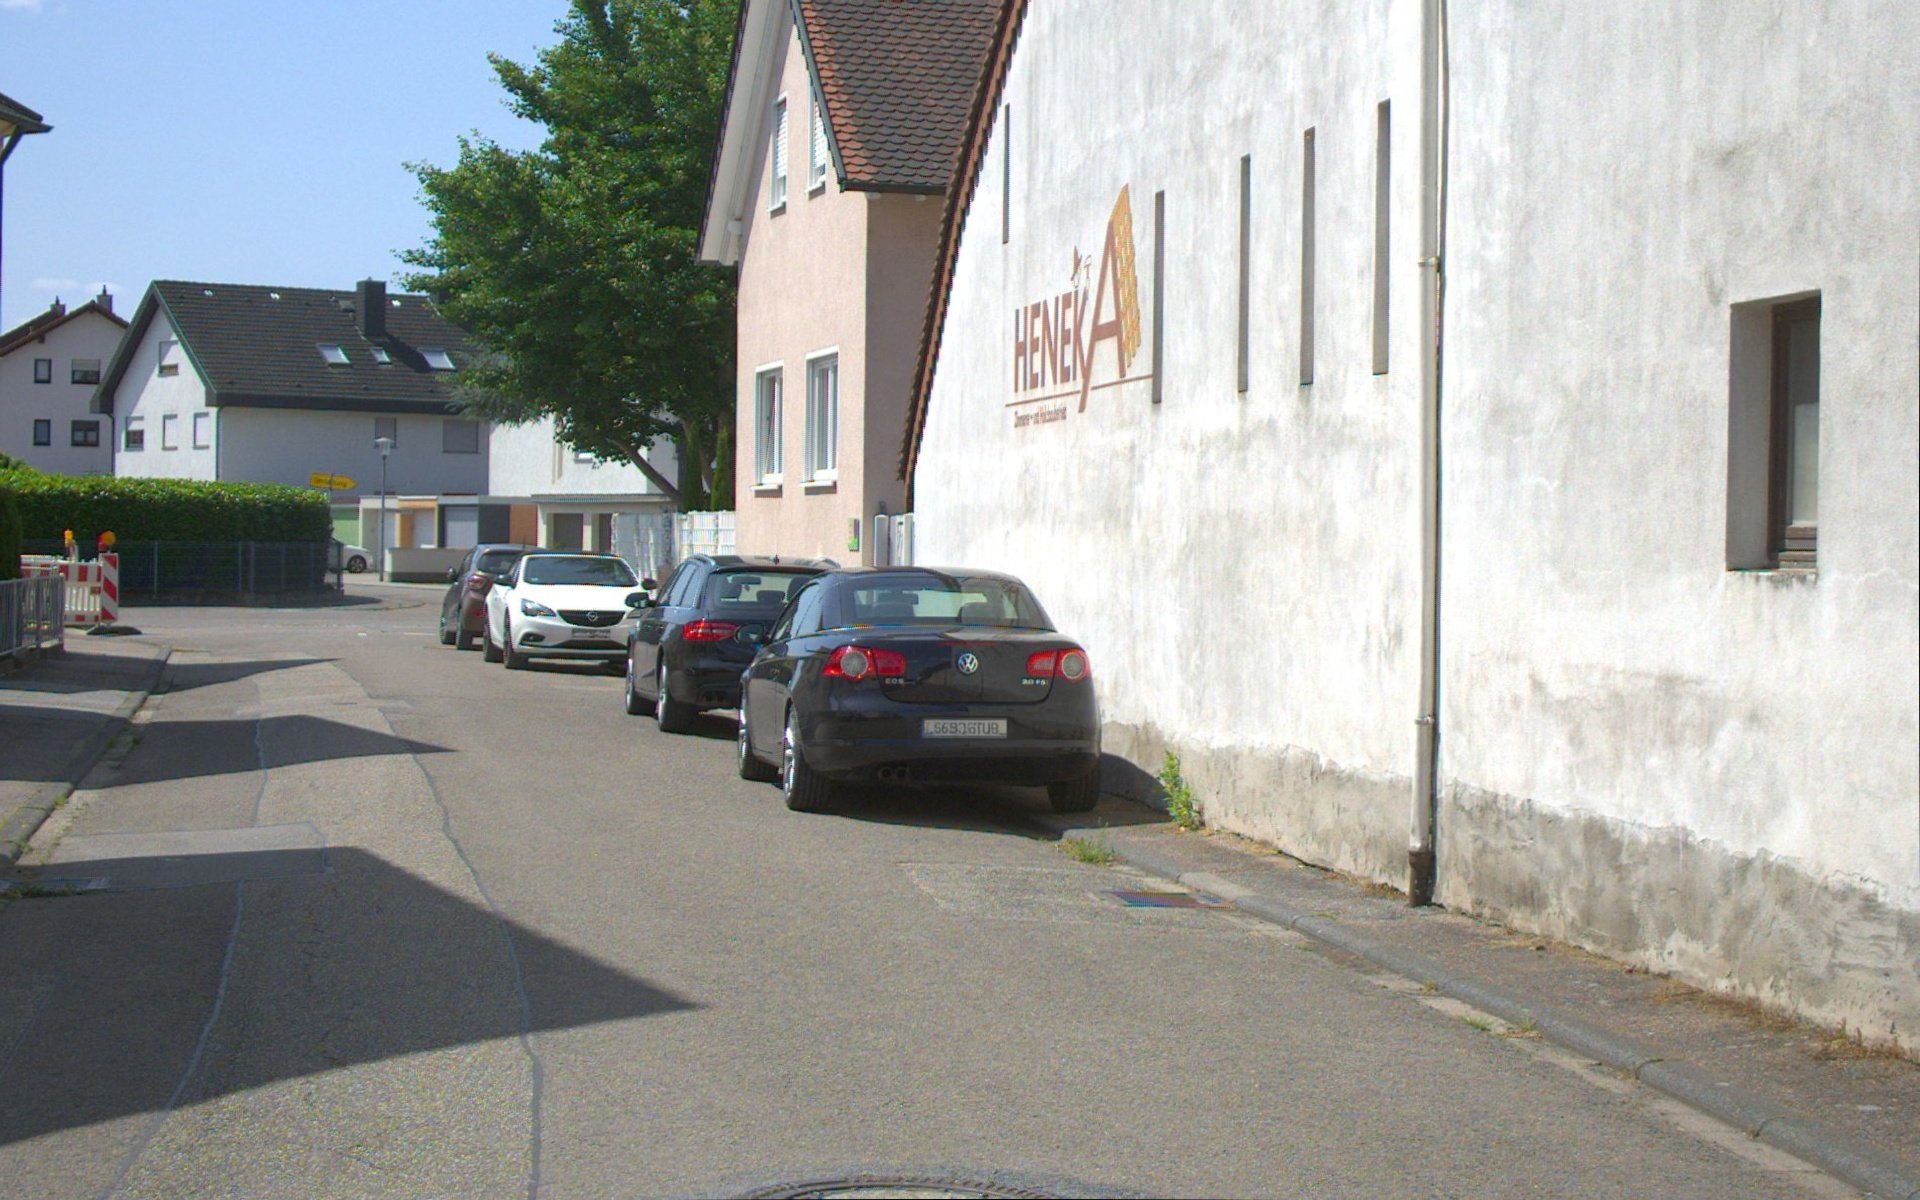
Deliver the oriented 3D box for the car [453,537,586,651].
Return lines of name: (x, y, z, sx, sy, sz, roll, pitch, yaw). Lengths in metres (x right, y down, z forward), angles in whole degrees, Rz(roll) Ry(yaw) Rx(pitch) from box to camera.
car: (-6.342, -0.119, 49.193, 1.712, 1.527, 4.036, 1, 1, -9)

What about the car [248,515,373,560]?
car: (-21.405, -2.057, 113.344, 3.599, 1.403, 1.784, 0, 1, -34)

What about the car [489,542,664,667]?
car: (-4.822, 0.015, 42.713, 1.895, 1.424, 4.738, 1, 1, -9)

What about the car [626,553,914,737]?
car: (-1.691, 0.321, 28.979, 1.895, 1.360, 4.738, 1, 1, -9)

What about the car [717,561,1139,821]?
car: (-0.319, 0.482, 21.035, 1.895, 1.360, 4.415, 1, 1, -9)

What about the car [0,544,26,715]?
car: (-8.622, 0.219, 25.441, 1.770, 1.345, 4.468, 2, 0, 6)
